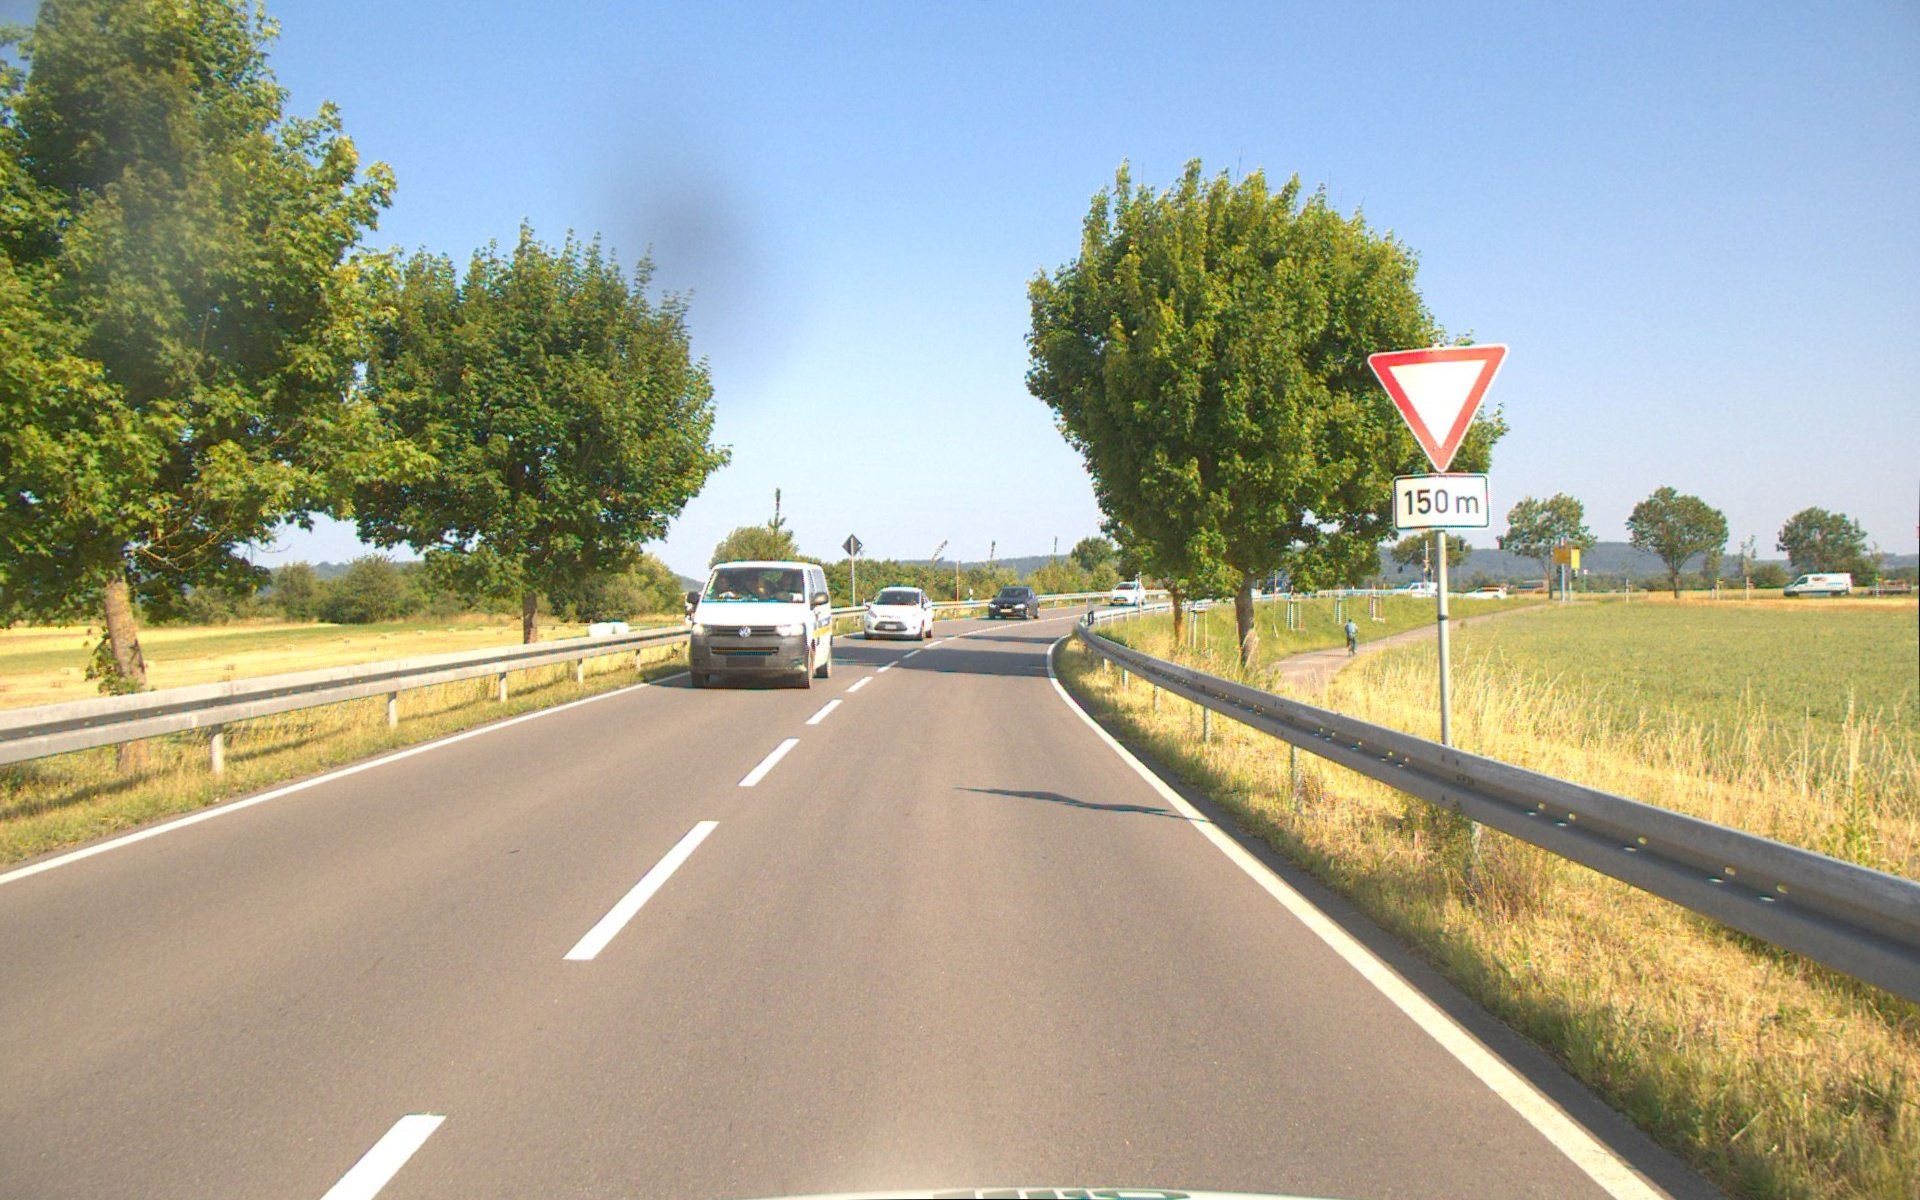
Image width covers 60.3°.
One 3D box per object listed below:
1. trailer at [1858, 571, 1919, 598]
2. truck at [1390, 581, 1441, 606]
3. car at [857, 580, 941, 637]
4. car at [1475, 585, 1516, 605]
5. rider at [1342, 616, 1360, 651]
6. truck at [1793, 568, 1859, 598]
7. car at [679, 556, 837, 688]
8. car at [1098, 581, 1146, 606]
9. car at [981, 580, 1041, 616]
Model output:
[{"bbox_3d":[87.575,-1.459,155.584,5.344,2.395,3.347,0,-1,32],"label":"trailer"},{"bbox_3d":[48.684,-0.678,176.769,4.953,2.573,1.997,1,-1,-6],"label":"truck"},{"bbox_3d":[-1.728,0.214,48.297,1.862,1.559,4.594,1,0,5],"label":"car"},{"bbox_3d":[57.310,-0.547,177.056,3.902,2.049,2.002,1,-1,10],"label":"car"},{"bbox_3d":[17.535,1.483,74.171,0.596,1.554,1.826,0,-1,20],"label":"rider"},{"bbox_3d":[82.948,-1.593,158.451,5.478,2.742,3.287,0,-1,32],"label":"truck"},{"bbox_3d":[-3.140,0.313,26.610,1.953,1.917,4.591,1,0,0],"label":"car"},{"bbox_3d":[10.302,-0.405,104.890,1.952,1.559,4.593,1,0,19],"label":"car"},{"bbox_3d":[2.336,-0.104,74.601,1.951,1.559,4.595,1,0,11],"label":"car"}]
